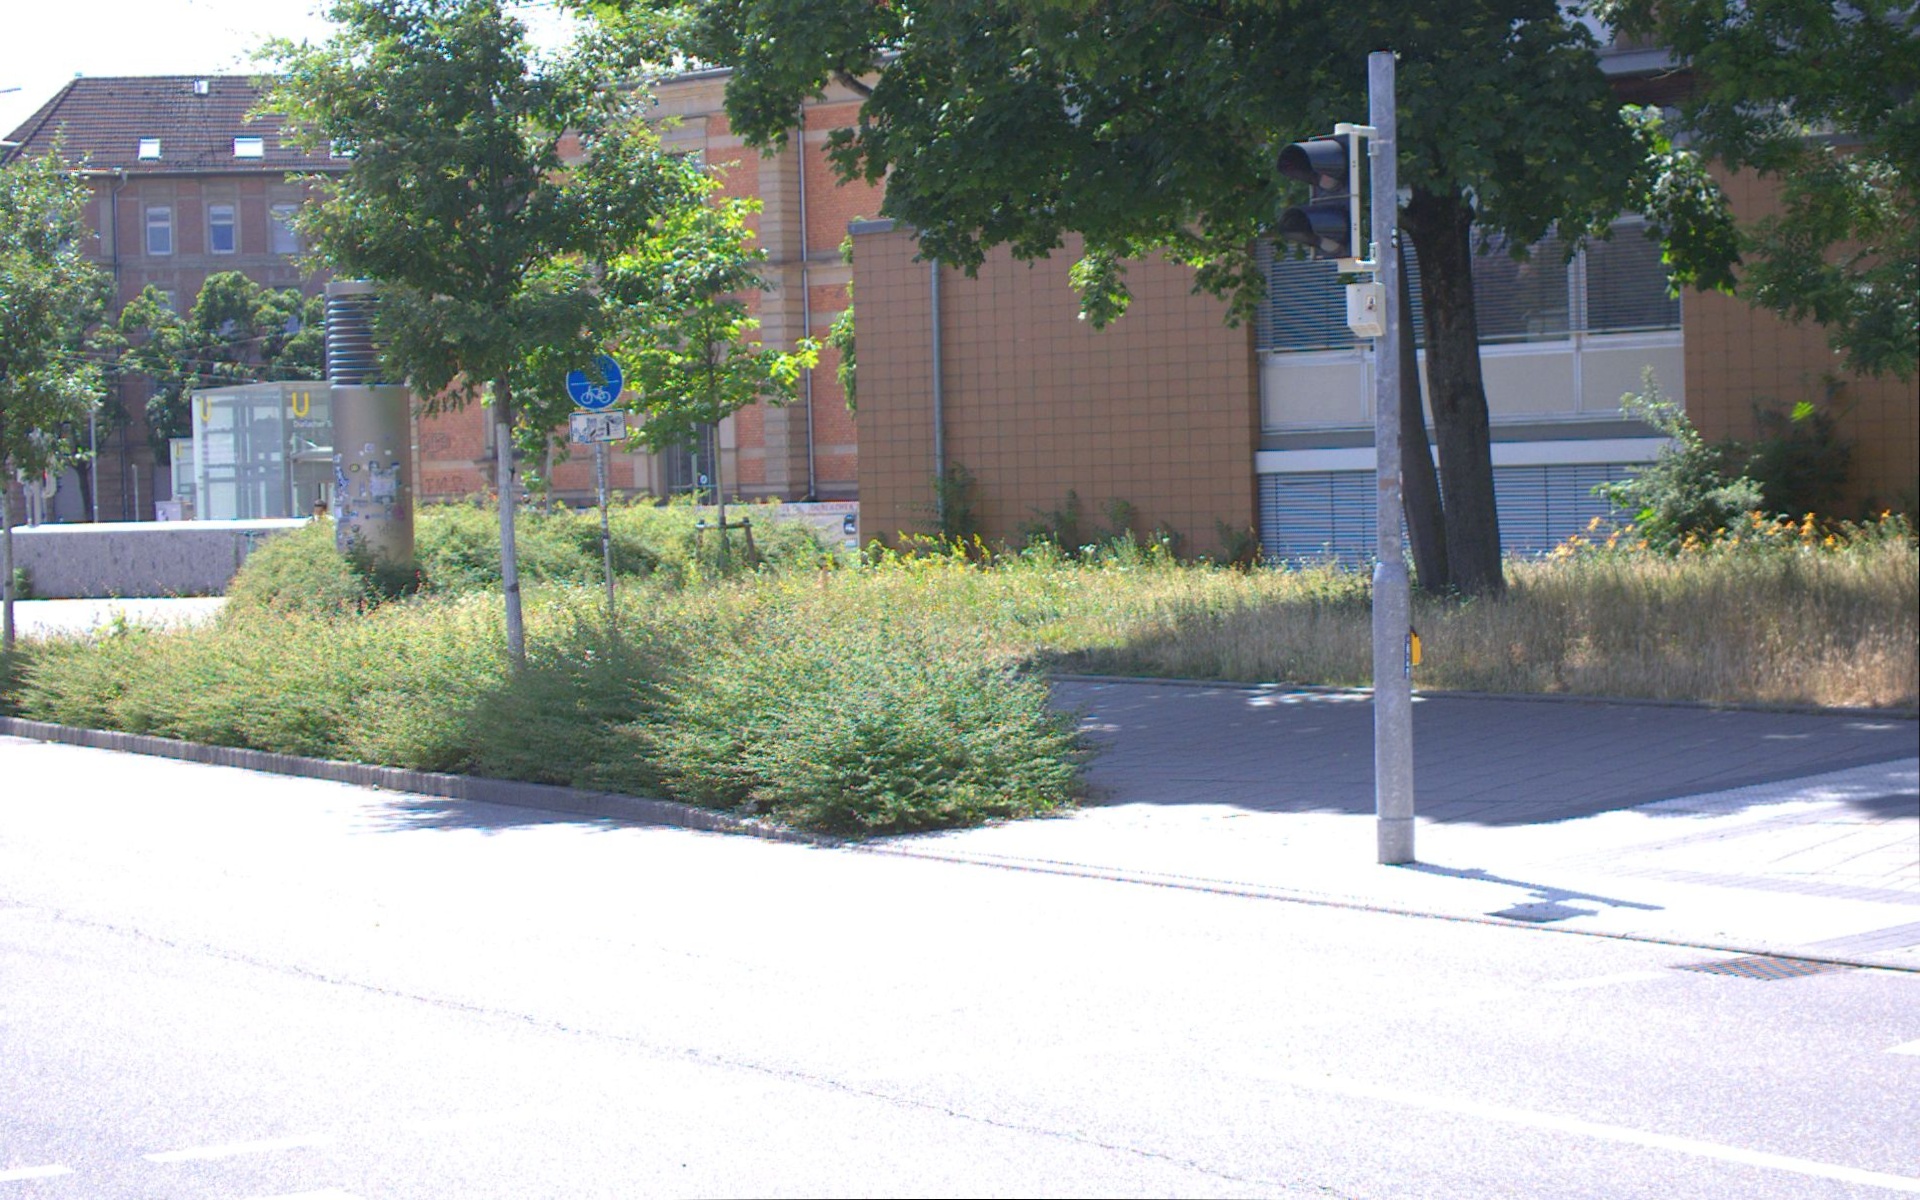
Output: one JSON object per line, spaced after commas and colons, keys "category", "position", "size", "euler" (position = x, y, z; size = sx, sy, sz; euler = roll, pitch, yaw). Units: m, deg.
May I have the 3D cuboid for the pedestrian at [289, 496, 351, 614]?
{"category": "pedestrian", "position": [-9.383, -0.670, 50.413], "size": [0.732, 1.700, 0.811], "euler": [-1, 2, -22]}
